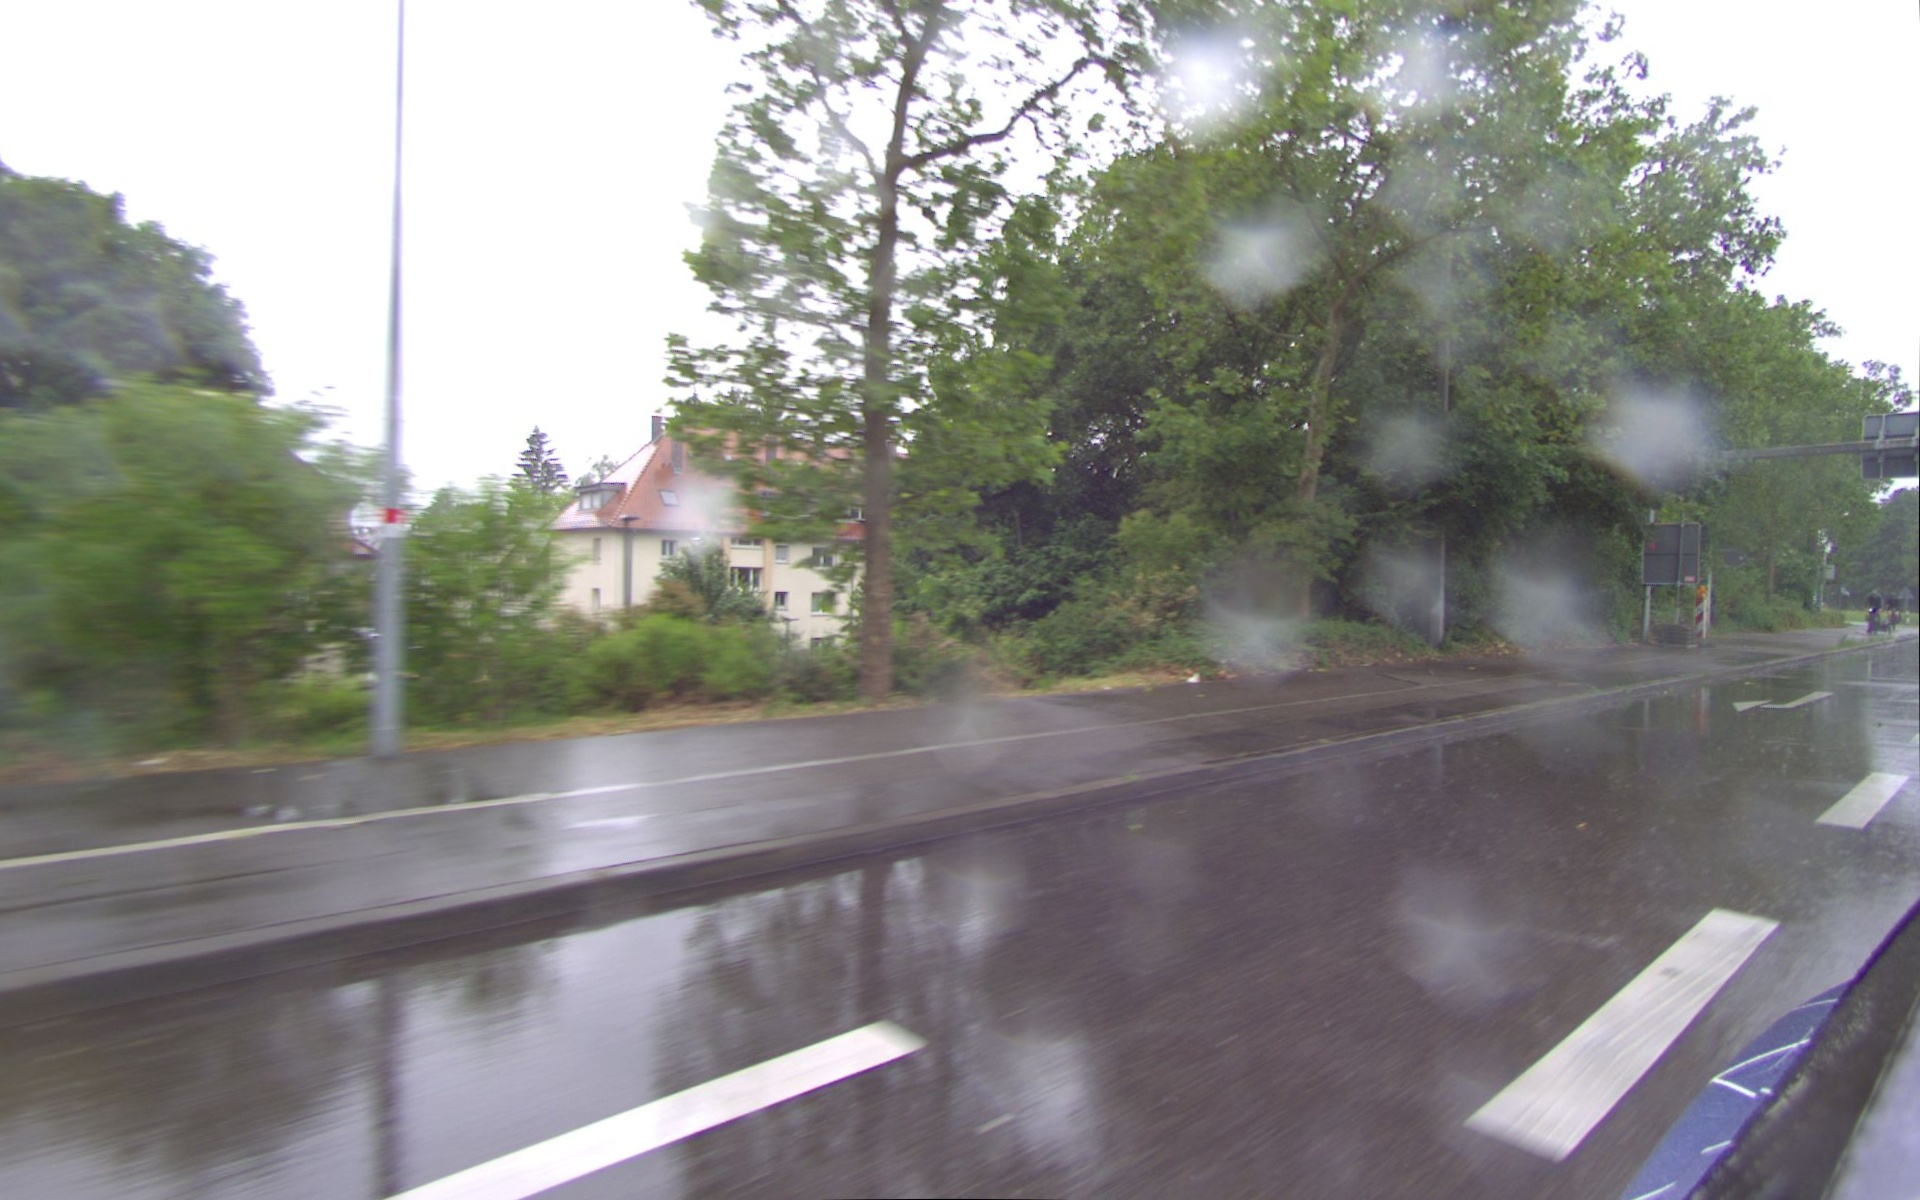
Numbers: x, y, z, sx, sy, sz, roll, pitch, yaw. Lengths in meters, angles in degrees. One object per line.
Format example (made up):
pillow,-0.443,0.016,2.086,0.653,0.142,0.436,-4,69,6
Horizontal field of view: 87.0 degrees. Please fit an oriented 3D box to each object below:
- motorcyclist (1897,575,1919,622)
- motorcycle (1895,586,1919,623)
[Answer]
motorcyclist,46.223,-0.088,49.278,0.900,2.287,0.762,0,1,-41
motorcycle,46.342,0.207,49.338,2.541,1.742,0.844,0,1,-41
